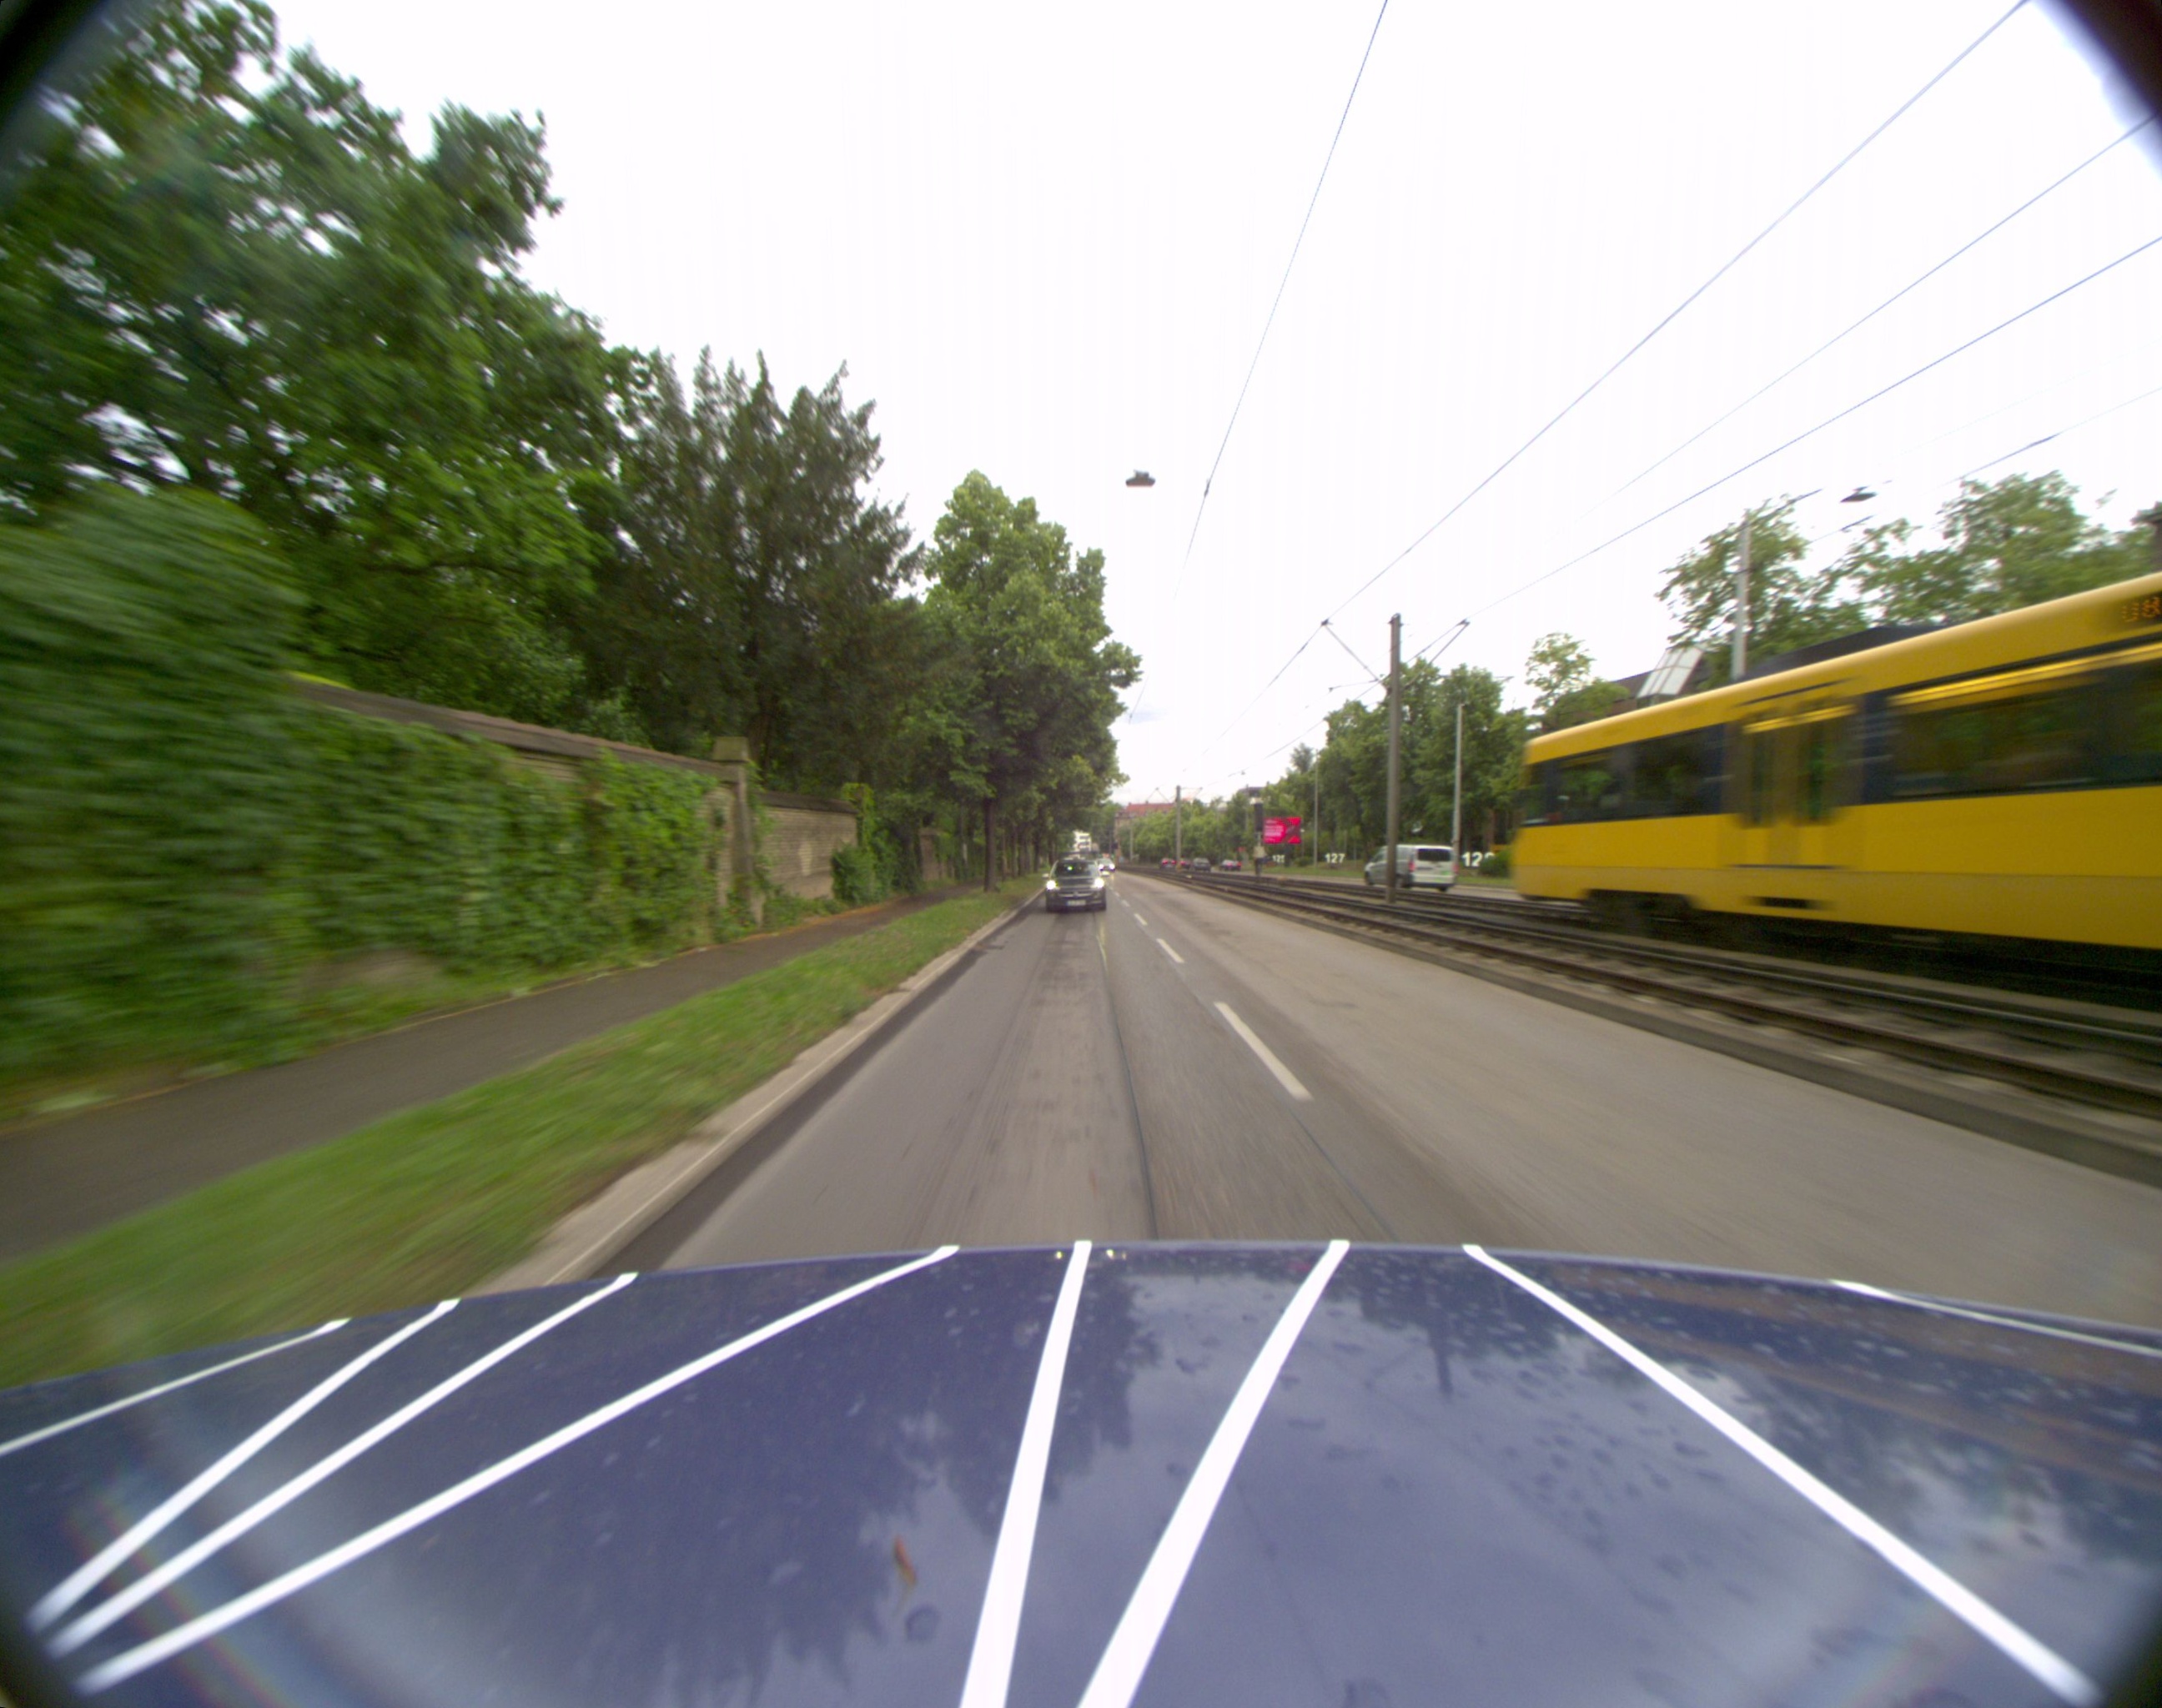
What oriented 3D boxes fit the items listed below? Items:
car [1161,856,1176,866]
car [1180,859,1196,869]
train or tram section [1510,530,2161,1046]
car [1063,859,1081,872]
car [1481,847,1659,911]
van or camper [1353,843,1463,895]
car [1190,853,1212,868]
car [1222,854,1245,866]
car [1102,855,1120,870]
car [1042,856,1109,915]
[{"bbox_3d":[12.346,1.001,107.416,1.692,1.385,4.340,0,0,-1],"label":"car"},{"bbox_3d":[15.583,1.433,110.665,1.769,1.502,4.340,0,0,-1],"label":"car"},{"bbox_3d":[9.681,-0.510,4.833,2.835,3.952,20.028,0,0,1],"label":"train or tram section"},{"bbox_3d":[-1.064,1.285,86.755,1.769,1.502,4.339,0,0,-4],"label":"car"},{"bbox_3d":[12.839,0.598,20.354,1.792,1.523,4.504,0,0,-2],"label":"car"},{"bbox_3d":[13.246,0.570,31.260,1.919,1.948,5.692,0,0,-2],"label":"van or camper"},{"bbox_3d":[12.898,0.669,82.042,1.692,1.628,4.340,0,0,-1],"label":"car"},{"bbox_3d":[19.182,0.726,95.887,1.958,1.493,4.340,0,0,-1],"label":"car"},{"bbox_3d":[3.053,0.814,78.269,1.768,1.502,4.341,0,0,2],"label":"car"},{"bbox_3d":[-0.110,0.859,22.853,1.746,1.544,4.494,-2,0,1],"label":"car"}]
